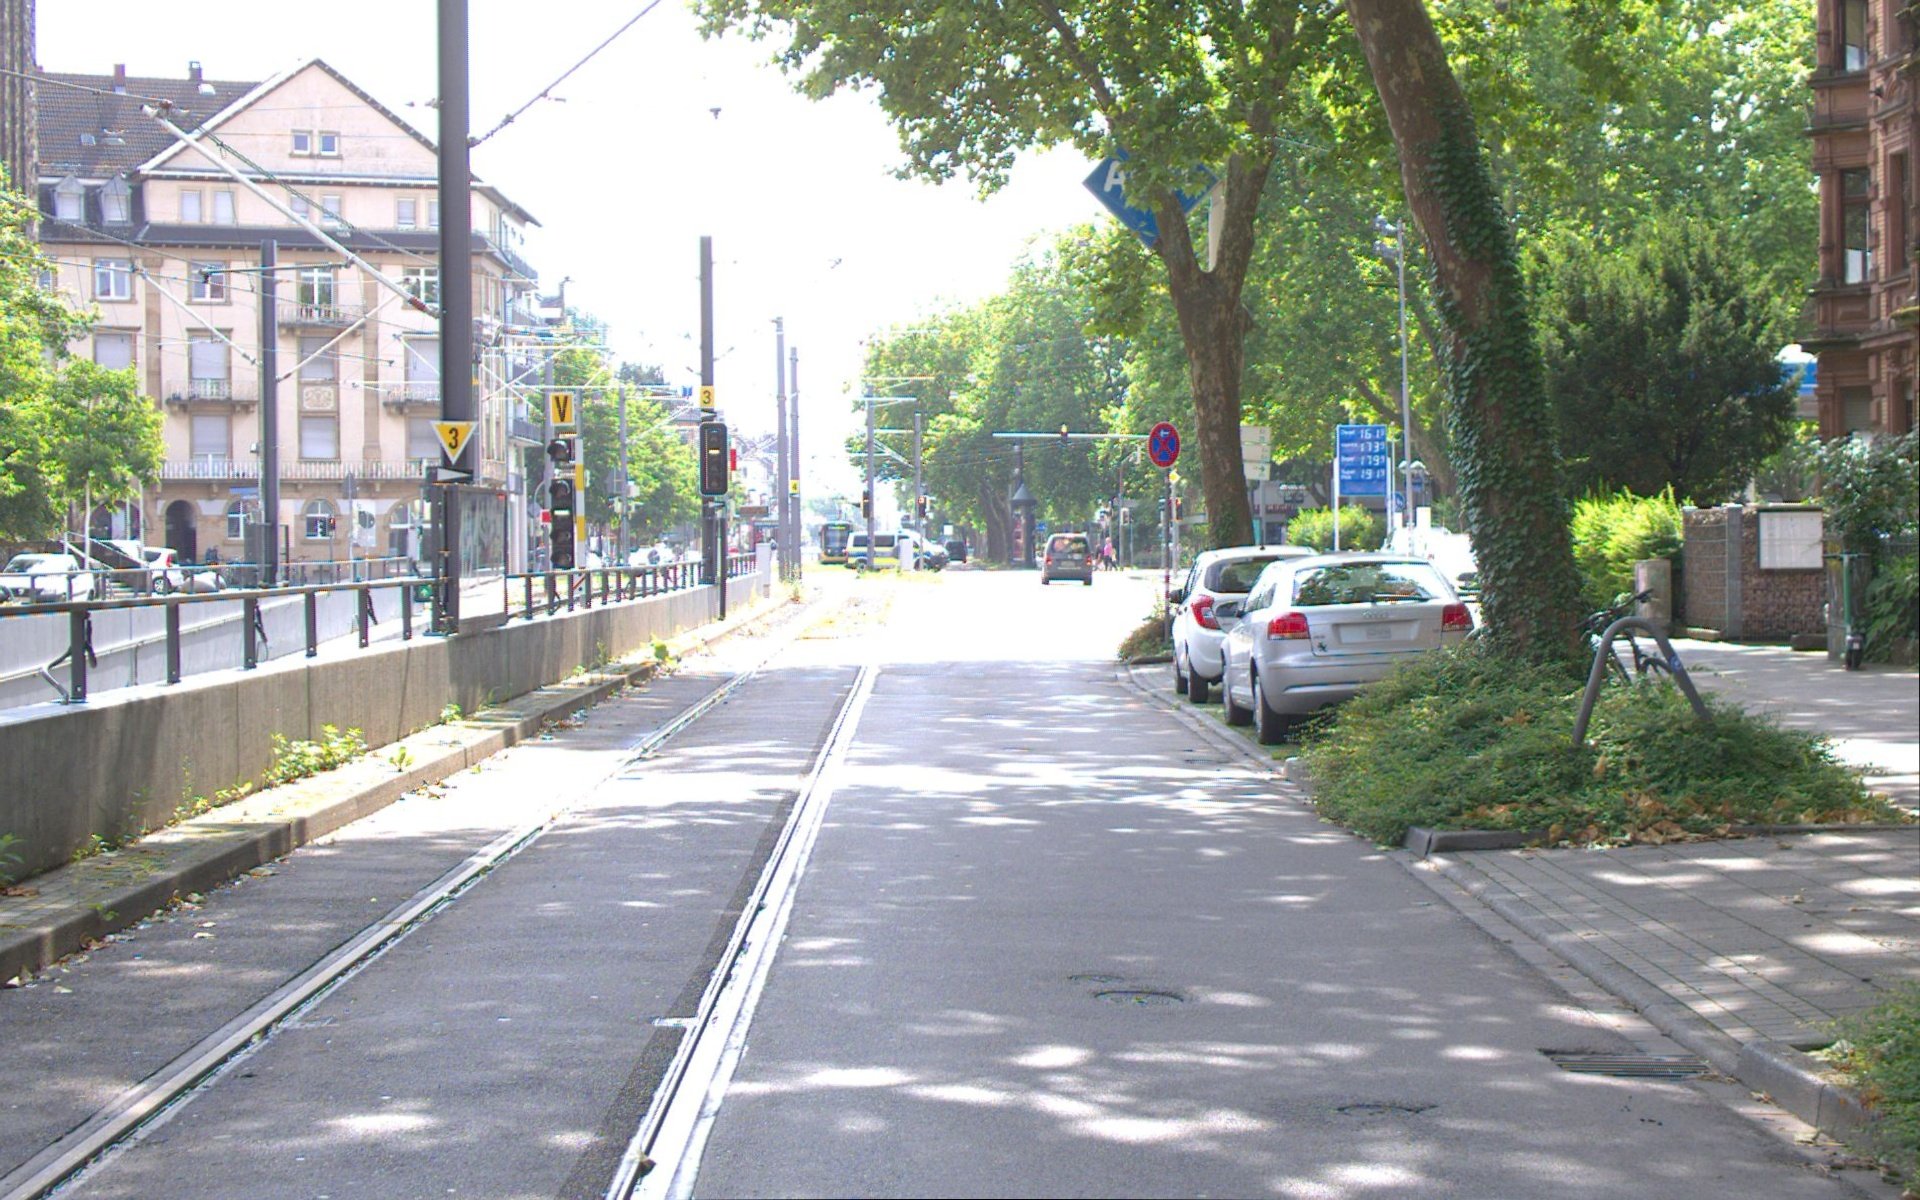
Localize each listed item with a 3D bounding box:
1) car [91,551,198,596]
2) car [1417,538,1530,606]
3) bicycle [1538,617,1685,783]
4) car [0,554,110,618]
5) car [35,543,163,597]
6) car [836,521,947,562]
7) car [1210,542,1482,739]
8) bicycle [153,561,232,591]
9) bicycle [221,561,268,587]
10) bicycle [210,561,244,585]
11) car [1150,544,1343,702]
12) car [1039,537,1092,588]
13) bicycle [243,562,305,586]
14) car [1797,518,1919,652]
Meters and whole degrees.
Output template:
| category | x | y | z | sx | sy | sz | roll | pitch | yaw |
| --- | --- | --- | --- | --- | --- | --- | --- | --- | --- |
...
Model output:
| category | x | y | z | sx | sy | sz | roll | pitch | yaw |
| --- | --- | --- | --- | --- | --- | --- | --- | --- | --- |
| car | -28.246 | -0.928 | 119.164 | 3.265 | 1.497 | 1.855 | -1 | 1 | -2 |
| car | 11.180 | -0.622 | 75.063 | 1.806 | 1.450 | 4.002 | 0 | 1 | -1 |
| bicycle | 4.230 | 0.634 | 22.393 | 0.579 | 1.016 | 1.324 | -1 | 1 | -5 |
| car | -22.240 | -0.370 | 84.064 | 1.930 | 1.499 | 4.415 | -1 | 1 | -2 |
| car | -29.004 | -1.021 | 115.884 | 3.869 | 1.742 | 1.895 | -1 | 1 | -3 |
| car | -3.176 | -2.737 | 160.048 | 4.741 | 1.853 | 1.997 | 0 | 1 | 25 |
| car | 3.012 | 0.283 | 27.505 | 1.677 | 1.439 | 3.859 | -1 | 1 | -1 |
| bicycle | -33.811 | -1.061 | 151.442 | 3.312 | 1.249 | 0.998 | 0 | 1 | 17 |
| bicycle | -31.399 | -1.158 | 150.899 | 1.970 | 1.110 | 0.487 | -1 | 1 | -36 |
| bicycle | -32.649 | -1.197 | 153.107 | 0.740 | 1.049 | 2.566 | -1 | 1 | -29 |
| car | 2.815 | 0.199 | 34.483 | 1.553 | 1.480 | 3.859 | -1 | 1 | -1 |
| car | 3.784 | -1.360 | 123.680 | 1.750 | 1.802 | 3.475 | 1 | 1 | 0 |
| bicycle | -30.387 | -1.161 | 152.310 | 2.557 | 1.049 | 0.682 | -1 | 1 | -27 |
| car | 11.945 | -0.236 | 39.298 | 4.234 | 1.464 | 1.942 | -2 | 1 | 0 |
